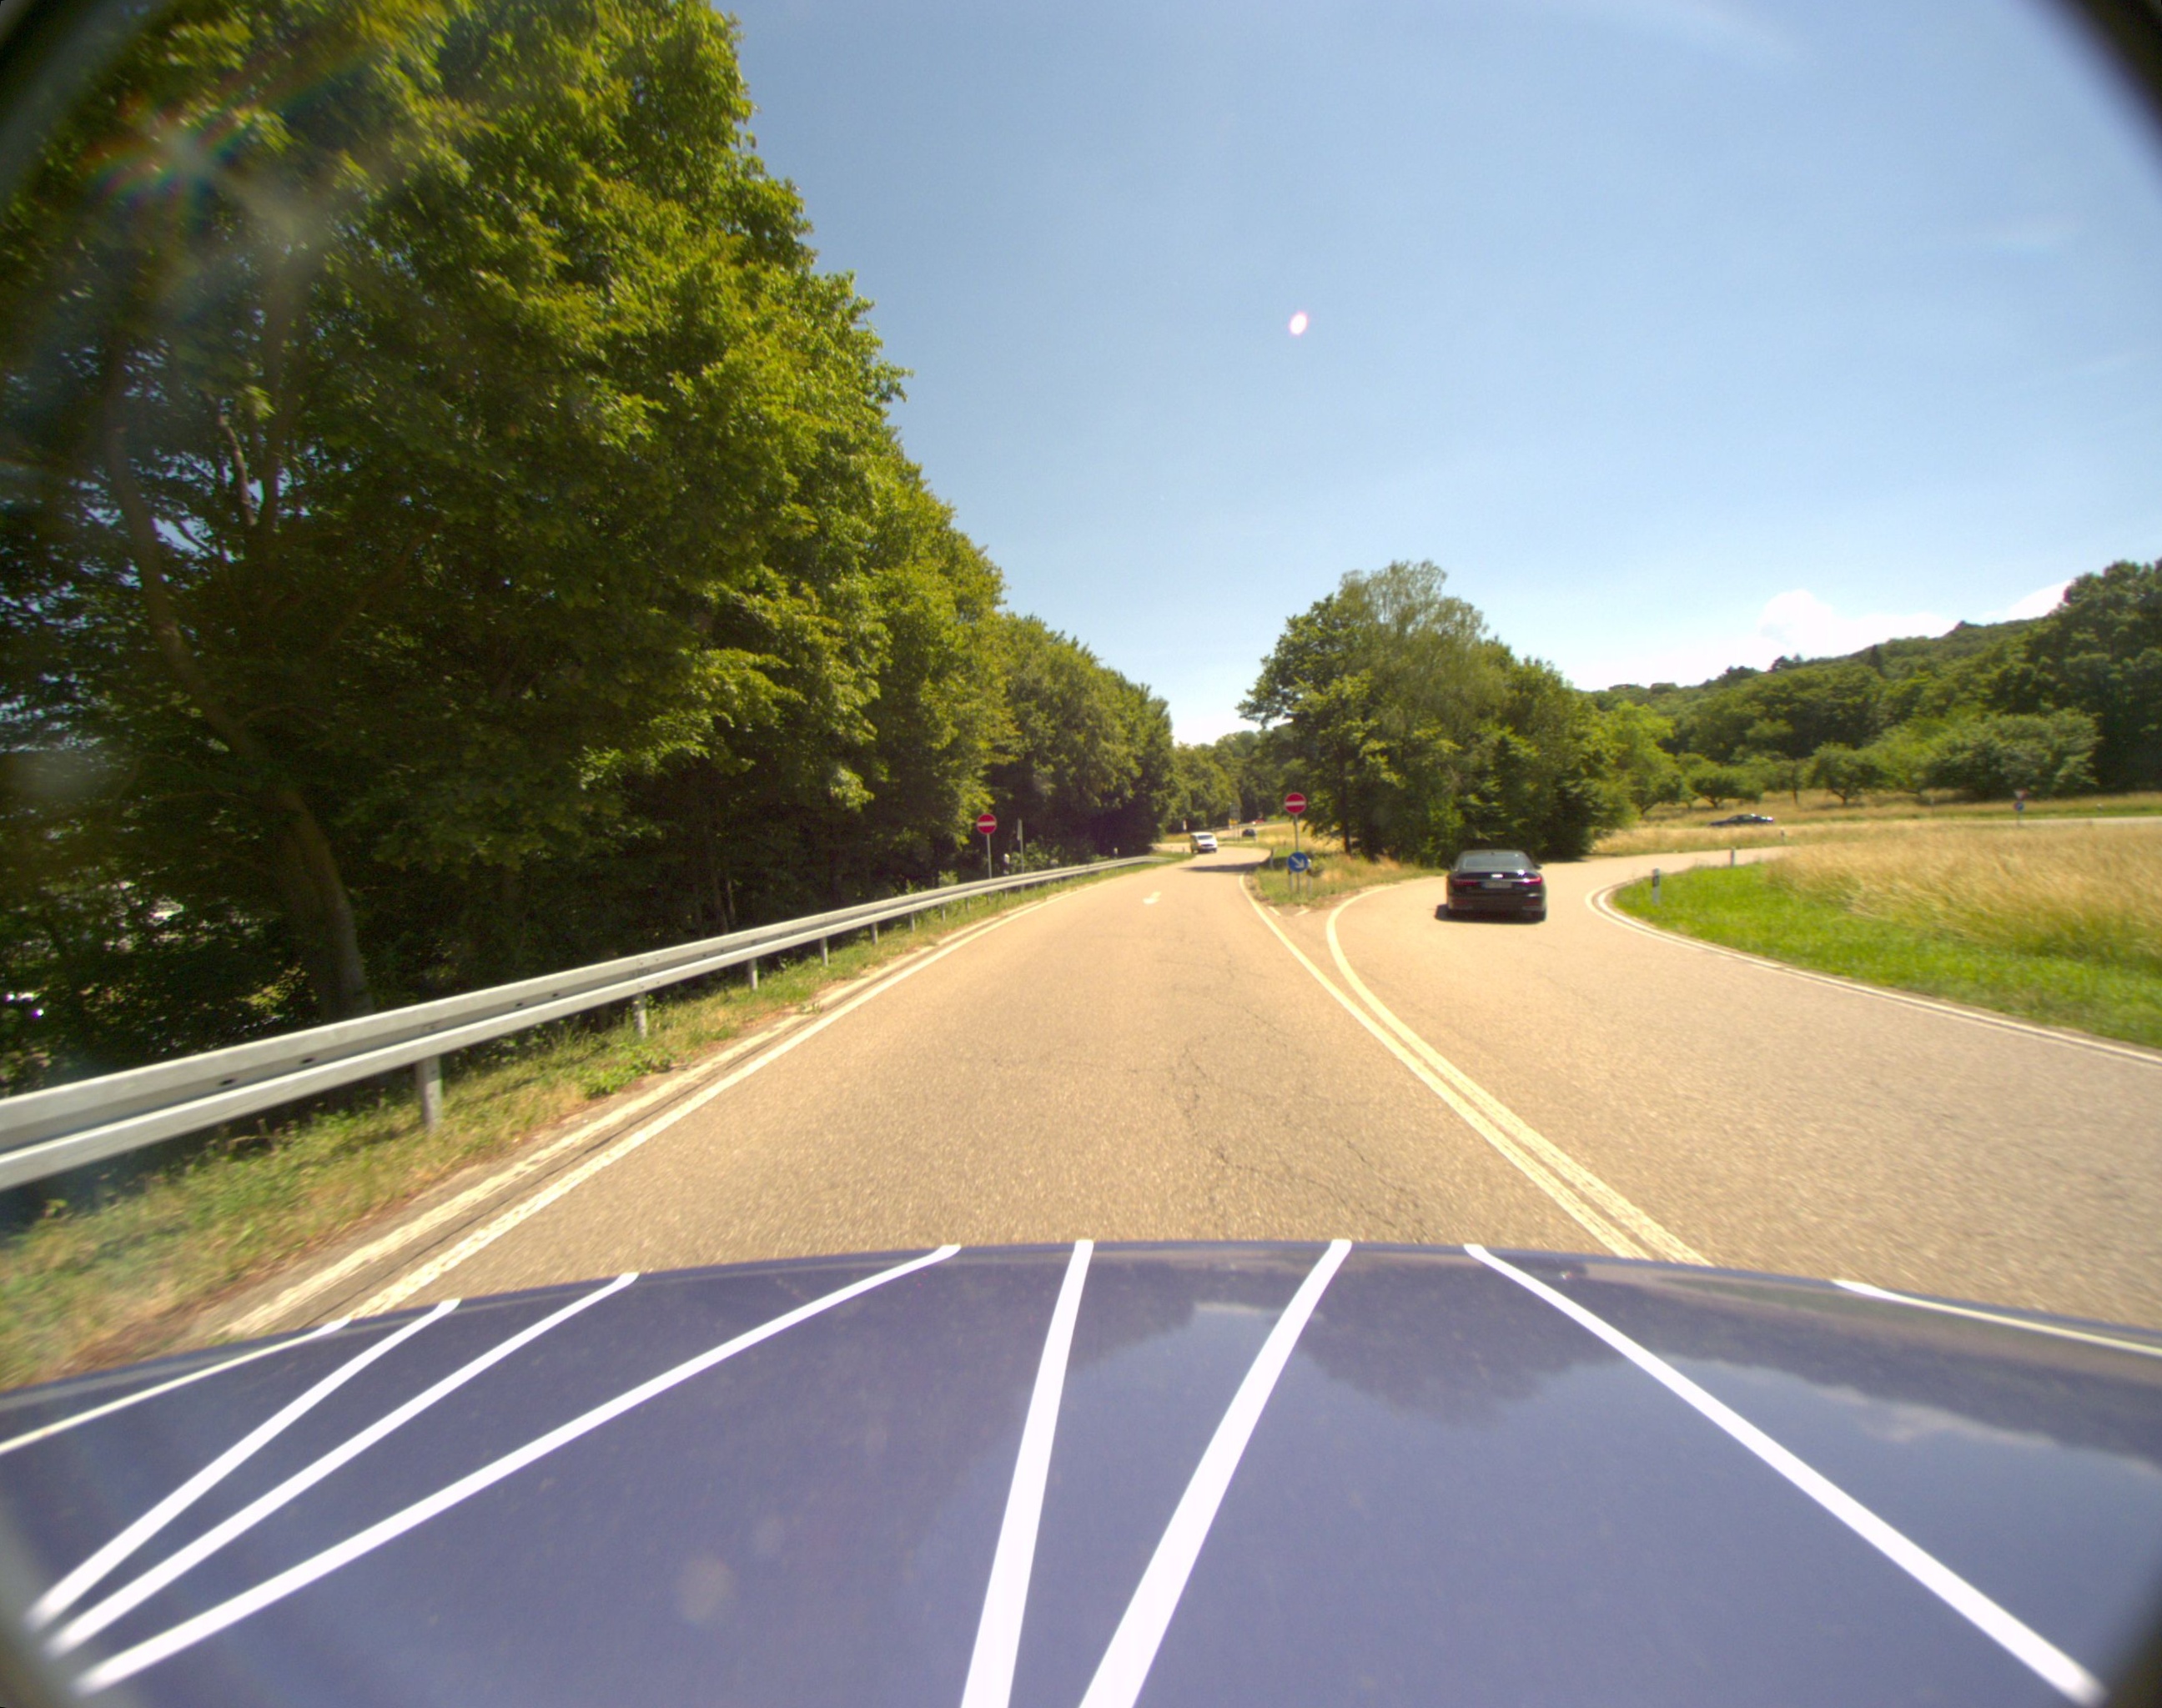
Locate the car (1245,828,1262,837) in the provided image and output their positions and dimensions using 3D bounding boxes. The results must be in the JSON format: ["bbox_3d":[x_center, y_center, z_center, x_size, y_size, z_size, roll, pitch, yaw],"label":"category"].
[{"bbox_3d":[27.340,-3.467,120.797,1.472,1.320,2.957,-4,3,-12],"label":"car"}]

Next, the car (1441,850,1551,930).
[{"bbox_3d":[9.133,0.676,17.040,1.803,1.498,4.665,0,1,24],"label":"car"}]

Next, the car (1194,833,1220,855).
[{"bbox_3d":[12.697,-1.020,76.270,2.222,2.021,5.431,-3,1,12],"label":"car"}]

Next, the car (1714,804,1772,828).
[{"bbox_3d":[61.625,-3.531,70.749,3.988,2.003,2.003,0,5,44],"label":"car"}]
